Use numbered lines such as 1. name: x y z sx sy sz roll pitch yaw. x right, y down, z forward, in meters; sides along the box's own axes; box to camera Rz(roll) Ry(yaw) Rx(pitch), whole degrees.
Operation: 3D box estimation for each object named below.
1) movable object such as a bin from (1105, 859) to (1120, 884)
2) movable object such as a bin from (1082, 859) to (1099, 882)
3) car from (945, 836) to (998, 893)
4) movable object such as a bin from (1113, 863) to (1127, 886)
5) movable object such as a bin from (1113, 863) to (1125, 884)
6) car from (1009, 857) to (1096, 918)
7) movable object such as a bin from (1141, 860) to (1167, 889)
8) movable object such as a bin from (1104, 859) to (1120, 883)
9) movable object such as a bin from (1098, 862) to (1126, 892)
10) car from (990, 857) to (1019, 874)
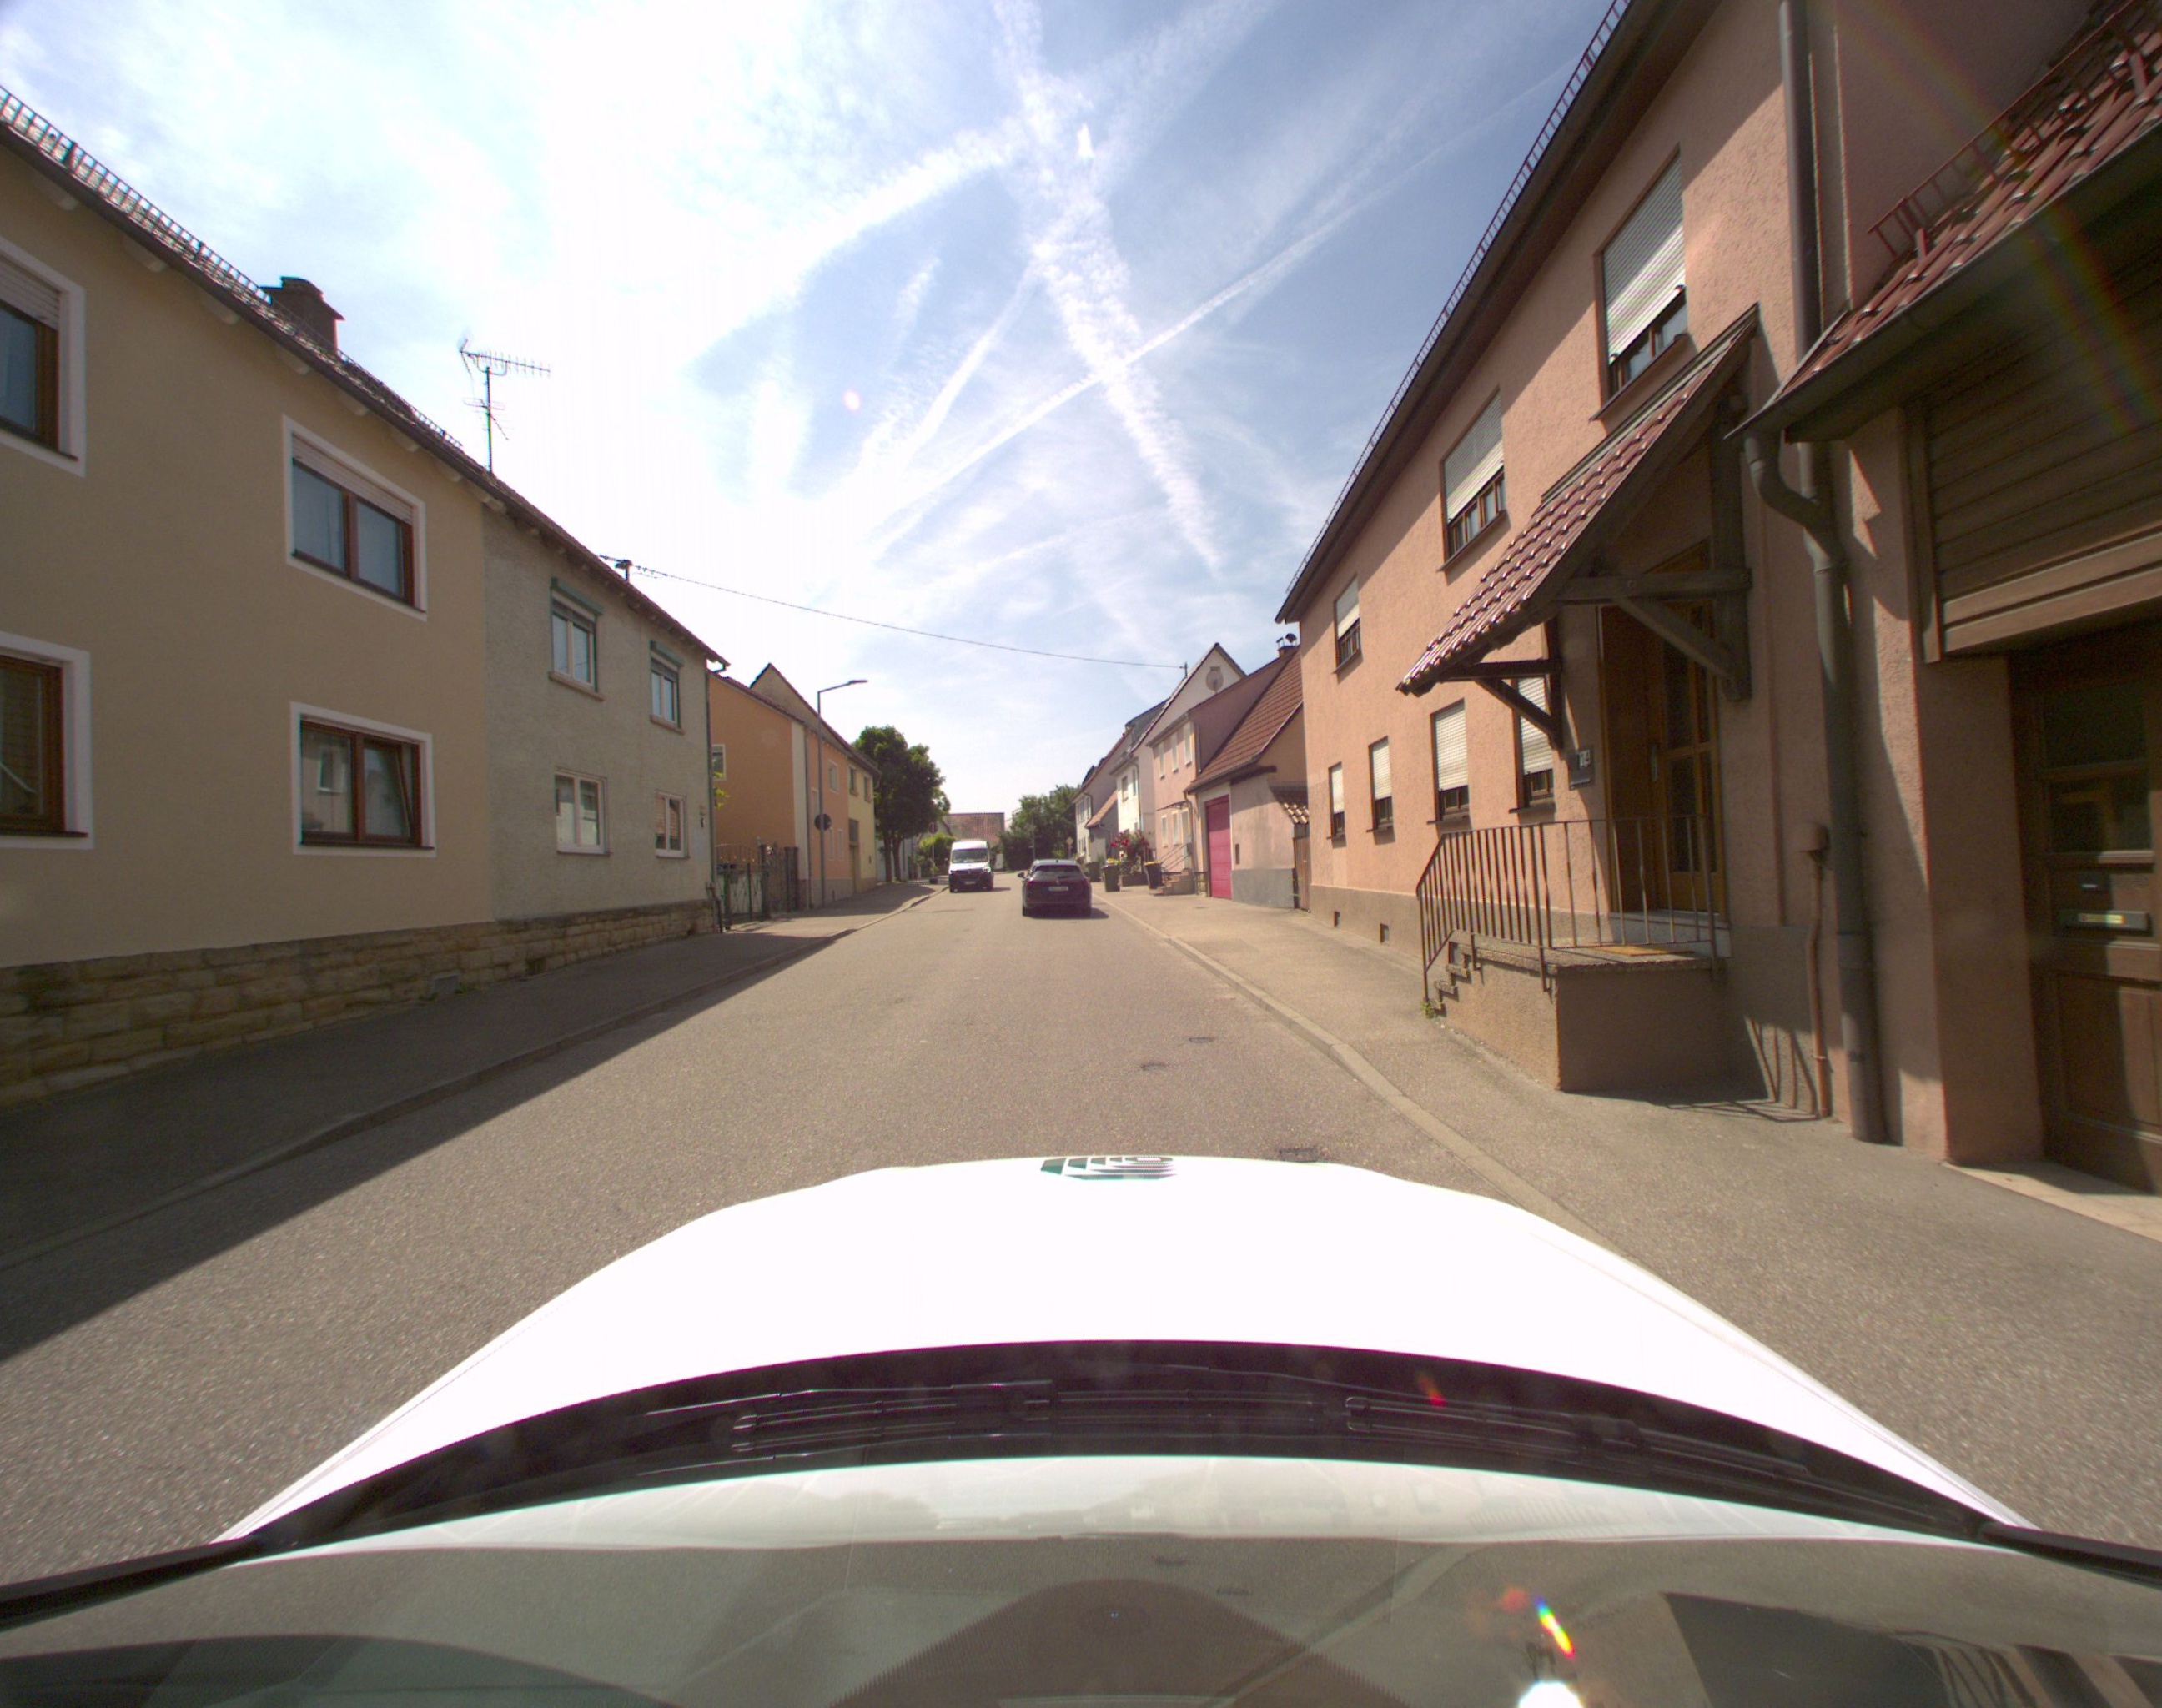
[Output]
1. movable object such as a bin: 1.563 0.859 40.642 0.664 1.194 0.587 -2 0 -6
2. movable object such as a bin: 0.474 0.841 41.455 0.678 1.155 0.817 -1 -1 -9
3. car: -5.345 0.492 40.394 2.110 2.562 5.818 -3 0 -4
4. movable object such as a bin: 1.827 0.949 38.252 0.591 1.040 0.529 -2 0 -6
5. movable object such as a bin: 1.845 0.929 39.215 0.503 0.994 0.441 -2 0 -6
6. car: -0.899 0.822 22.276 1.841 1.420 4.668 0 0 -9
7. movable object such as a bin: 2.807 0.780 31.389 0.678 1.050 0.832 -6 0 -9
8. movable object such as a bin: 1.567 0.850 41.332 0.664 1.194 0.659 -2 0 -6
9. movable object such as a bin: 1.236 0.900 32.516 0.876 1.074 0.870 -6 0 -10
10. car: -9.925 1.467 106.590 2.112 2.013 4.958 -2 0 15
